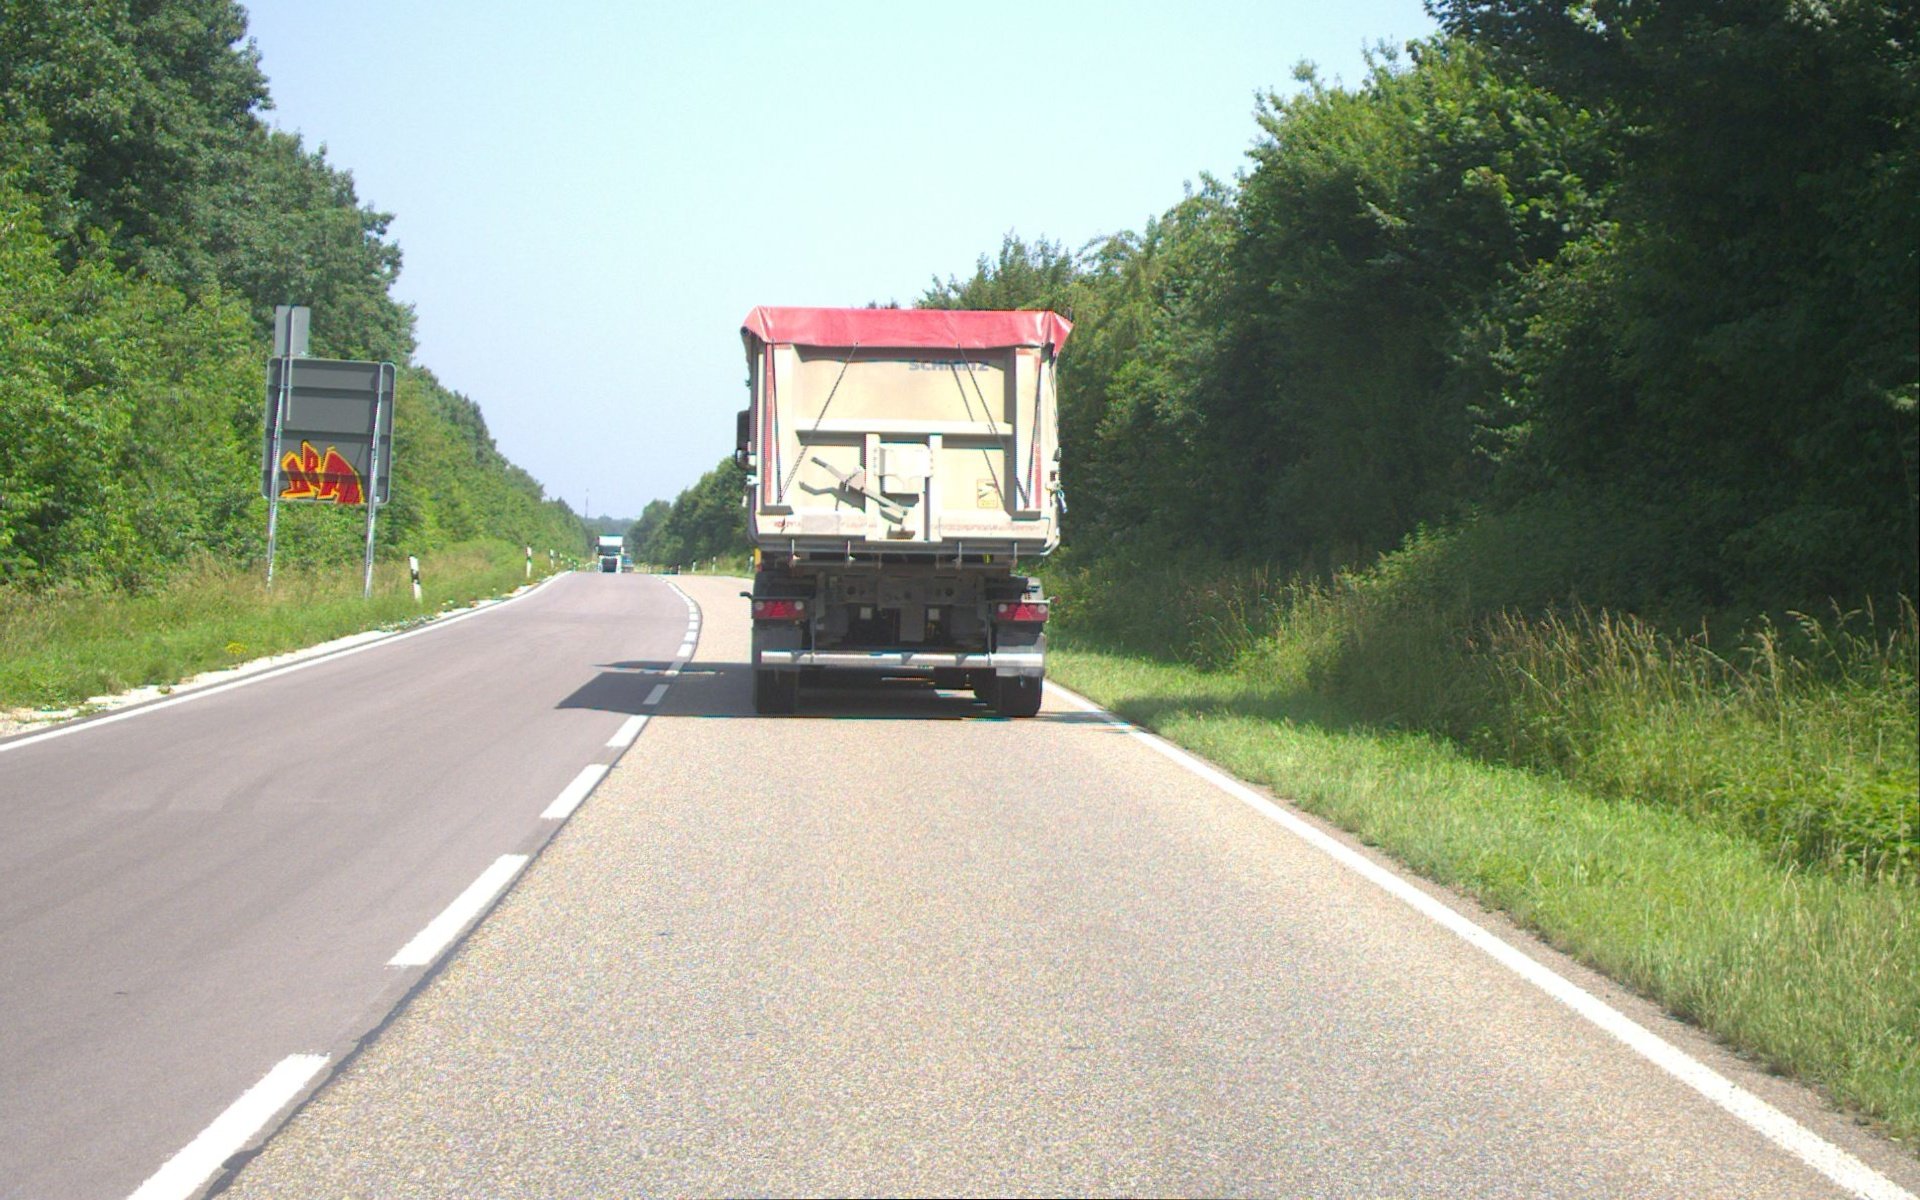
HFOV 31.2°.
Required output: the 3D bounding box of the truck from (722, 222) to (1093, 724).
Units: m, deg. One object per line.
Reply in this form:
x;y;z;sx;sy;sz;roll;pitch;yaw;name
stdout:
-0.760;-1.133;33.428;2.893;3.949;11.934;1;1;-3;truck
